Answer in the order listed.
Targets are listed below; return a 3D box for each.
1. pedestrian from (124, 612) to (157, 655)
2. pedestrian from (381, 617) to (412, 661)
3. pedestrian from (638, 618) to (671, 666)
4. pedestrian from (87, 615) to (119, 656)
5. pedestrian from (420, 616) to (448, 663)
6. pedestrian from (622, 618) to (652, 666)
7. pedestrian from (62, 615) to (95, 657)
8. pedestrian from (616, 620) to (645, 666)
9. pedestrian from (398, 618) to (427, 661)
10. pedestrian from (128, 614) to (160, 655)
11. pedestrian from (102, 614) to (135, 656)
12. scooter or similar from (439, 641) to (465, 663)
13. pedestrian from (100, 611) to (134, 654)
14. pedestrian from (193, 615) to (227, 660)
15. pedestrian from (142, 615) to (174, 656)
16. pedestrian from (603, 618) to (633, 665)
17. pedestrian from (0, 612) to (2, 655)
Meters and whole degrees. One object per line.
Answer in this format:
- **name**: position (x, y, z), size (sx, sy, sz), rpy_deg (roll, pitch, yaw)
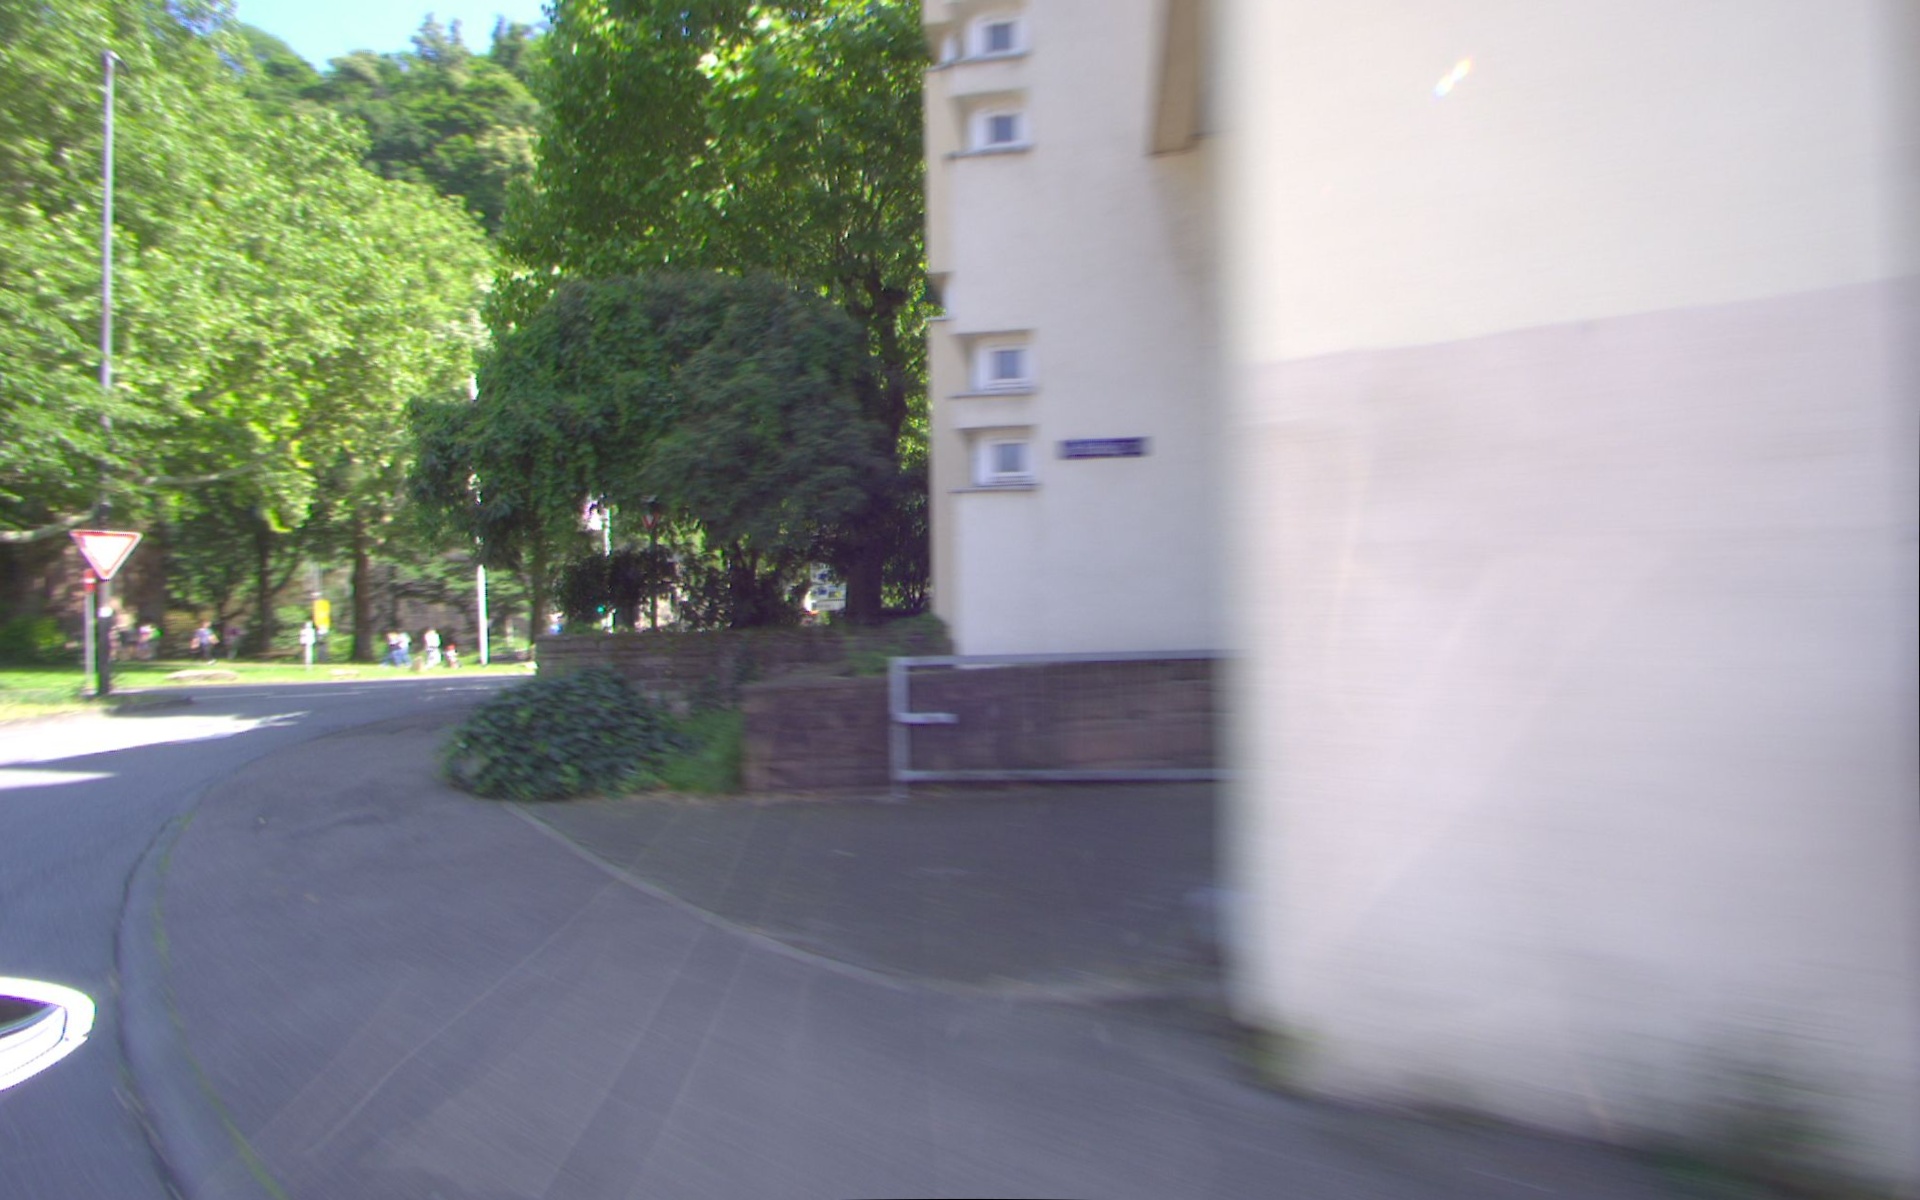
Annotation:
- **pedestrian**: position (-34.834, 1.434, 42.557), size (0.653, 1.777, 0.795), rpy_deg (0, -3, 16)
- **pedestrian**: position (-23.213, 1.628, 41.250), size (0.653, 1.777, 0.795), rpy_deg (1, -2, 16)
- **pedestrian**: position (-11.528, 1.599, 37.796), size (0.851, 1.777, 0.802), rpy_deg (0, -3, 16)
- **pedestrian**: position (-37.873, 1.590, 44.269), size (0.653, 1.777, 0.795), rpy_deg (0, -3, 16)
- **pedestrian**: position (-20.528, 1.532, 39.080), size (0.748, 1.779, 0.764), rpy_deg (0, 0, -7)
- **pedestrian**: position (-12.304, 1.604, 38.158), size (0.748, 1.777, 0.764), rpy_deg (0, -3, 16)
- **pedestrian**: position (-38.131, 1.555, 43.306), size (0.653, 1.777, 0.795), rpy_deg (0, -3, 16)
- **pedestrian**: position (-12.948, 1.704, 39.373), size (0.748, 1.777, 0.764), rpy_deg (0, -3, 16)
- **pedestrian**: position (-22.978, 1.677, 42.029), size (0.653, 1.777, 0.795), rpy_deg (0, -3, 16)
- **pedestrian**: position (-35.908, 1.530, 44.079), size (0.653, 1.777, 0.795), rpy_deg (0, -3, 16)
- **pedestrian**: position (-36.190, 1.496, 43.075), size (0.653, 1.777, 0.795), rpy_deg (0, -3, 16)
- **scooter or similar**: position (-19.797, 2.016, 39.030), size (0.719, 0.823, 0.569), rpy_deg (0, 0, -8)
- **pedestrian**: position (-35.186, 1.365, 41.790), size (0.653, 1.777, 0.795), rpy_deg (0, -3, 16)
- **pedestrian**: position (-30.164, 1.512, 40.282), size (0.709, 1.777, 0.795), rpy_deg (0, -3, 16)
- **pedestrian**: position (-35.044, 1.544, 43.764), size (0.653, 1.777, 0.795), rpy_deg (0, -3, 16)
- **pedestrian**: position (-13.149, 1.616, 38.553), size (0.748, 1.777, 0.764), rpy_deg (0, -3, 16)
- **pedestrian**: position (-40.675, 1.383, 41.717), size (0.860, 1.805, 0.794), rpy_deg (0, 0, 16)
